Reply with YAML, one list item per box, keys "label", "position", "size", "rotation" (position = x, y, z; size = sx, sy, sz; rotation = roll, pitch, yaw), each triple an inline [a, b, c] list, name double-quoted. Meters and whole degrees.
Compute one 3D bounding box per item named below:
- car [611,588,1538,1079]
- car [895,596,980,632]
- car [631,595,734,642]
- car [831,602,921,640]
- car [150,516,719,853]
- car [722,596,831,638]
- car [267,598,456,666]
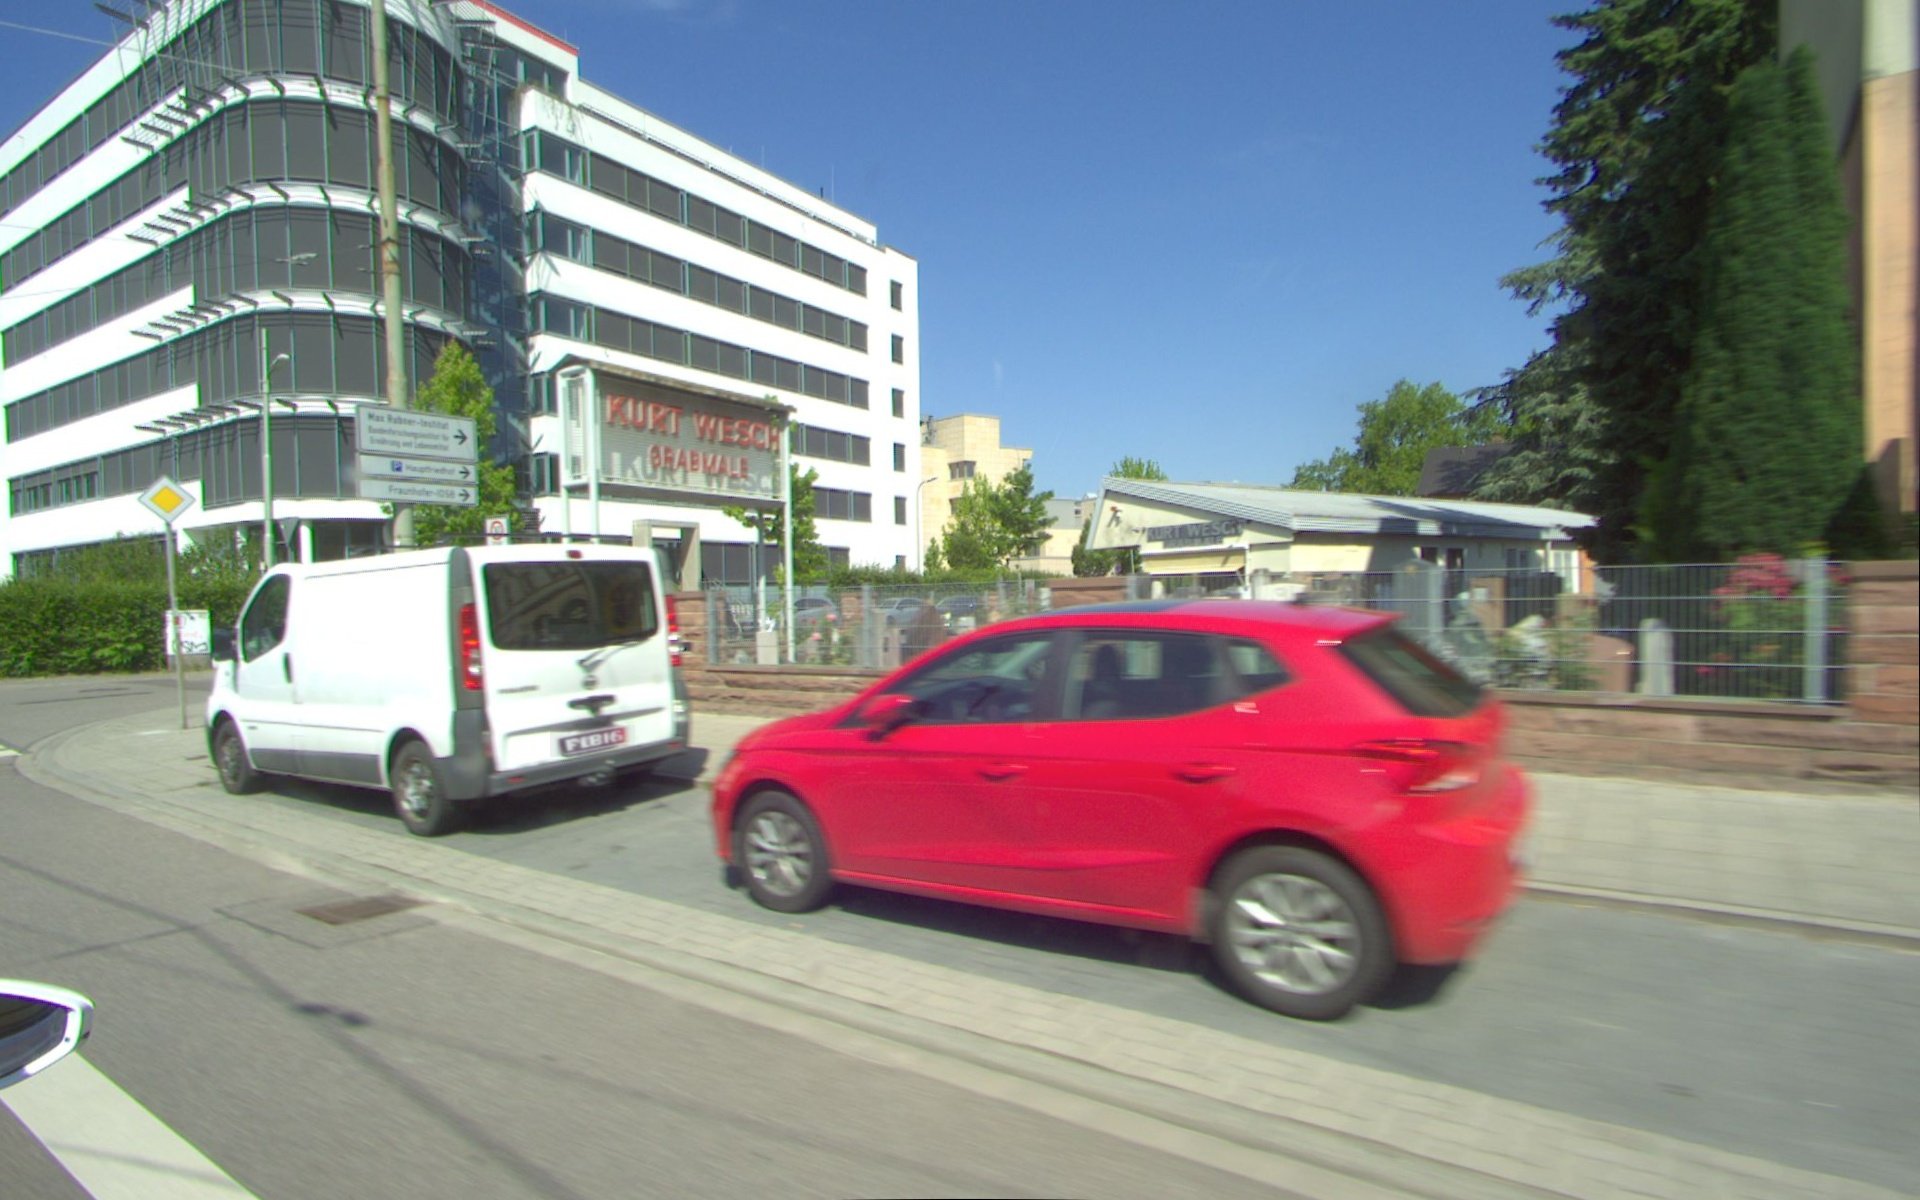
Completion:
- label: "car"
  position: [0.359, 0.736, 4.968]
  size: [4.253, 1.463, 1.716]
  rotation: [-1, 2, 34]
- label: "car"
  position: [-0.883, 0.543, 40.937]
  size: [1.648, 1.406, 3.735]
  rotation: [0, 0, 34]
- label: "car"
  position: [-9.024, 0.571, 32.715]
  size: [1.635, 1.430, 2.898]
  rotation: [0, 0, 34]
- label: "car"
  position: [-3.444, 0.846, 41.808]
  size: [1.635, 1.445, 3.976]
  rotation: [0, 0, 34]
- label: "car"
  position: [-4.577, 0.520, 8.413]
  size: [5.119, 2.083, 1.970]
  rotation: [-1, 2, 34]
- label: "car"
  position: [-6.641, 0.583, 36.652]
  size: [1.635, 1.445, 3.976]
  rotation: [0, 0, 34]
- label: "car"
  position: [-14.336, 0.723, 24.155]
  size: [1.570, 1.492, 3.584]
  rotation: [0, 0, 34]
